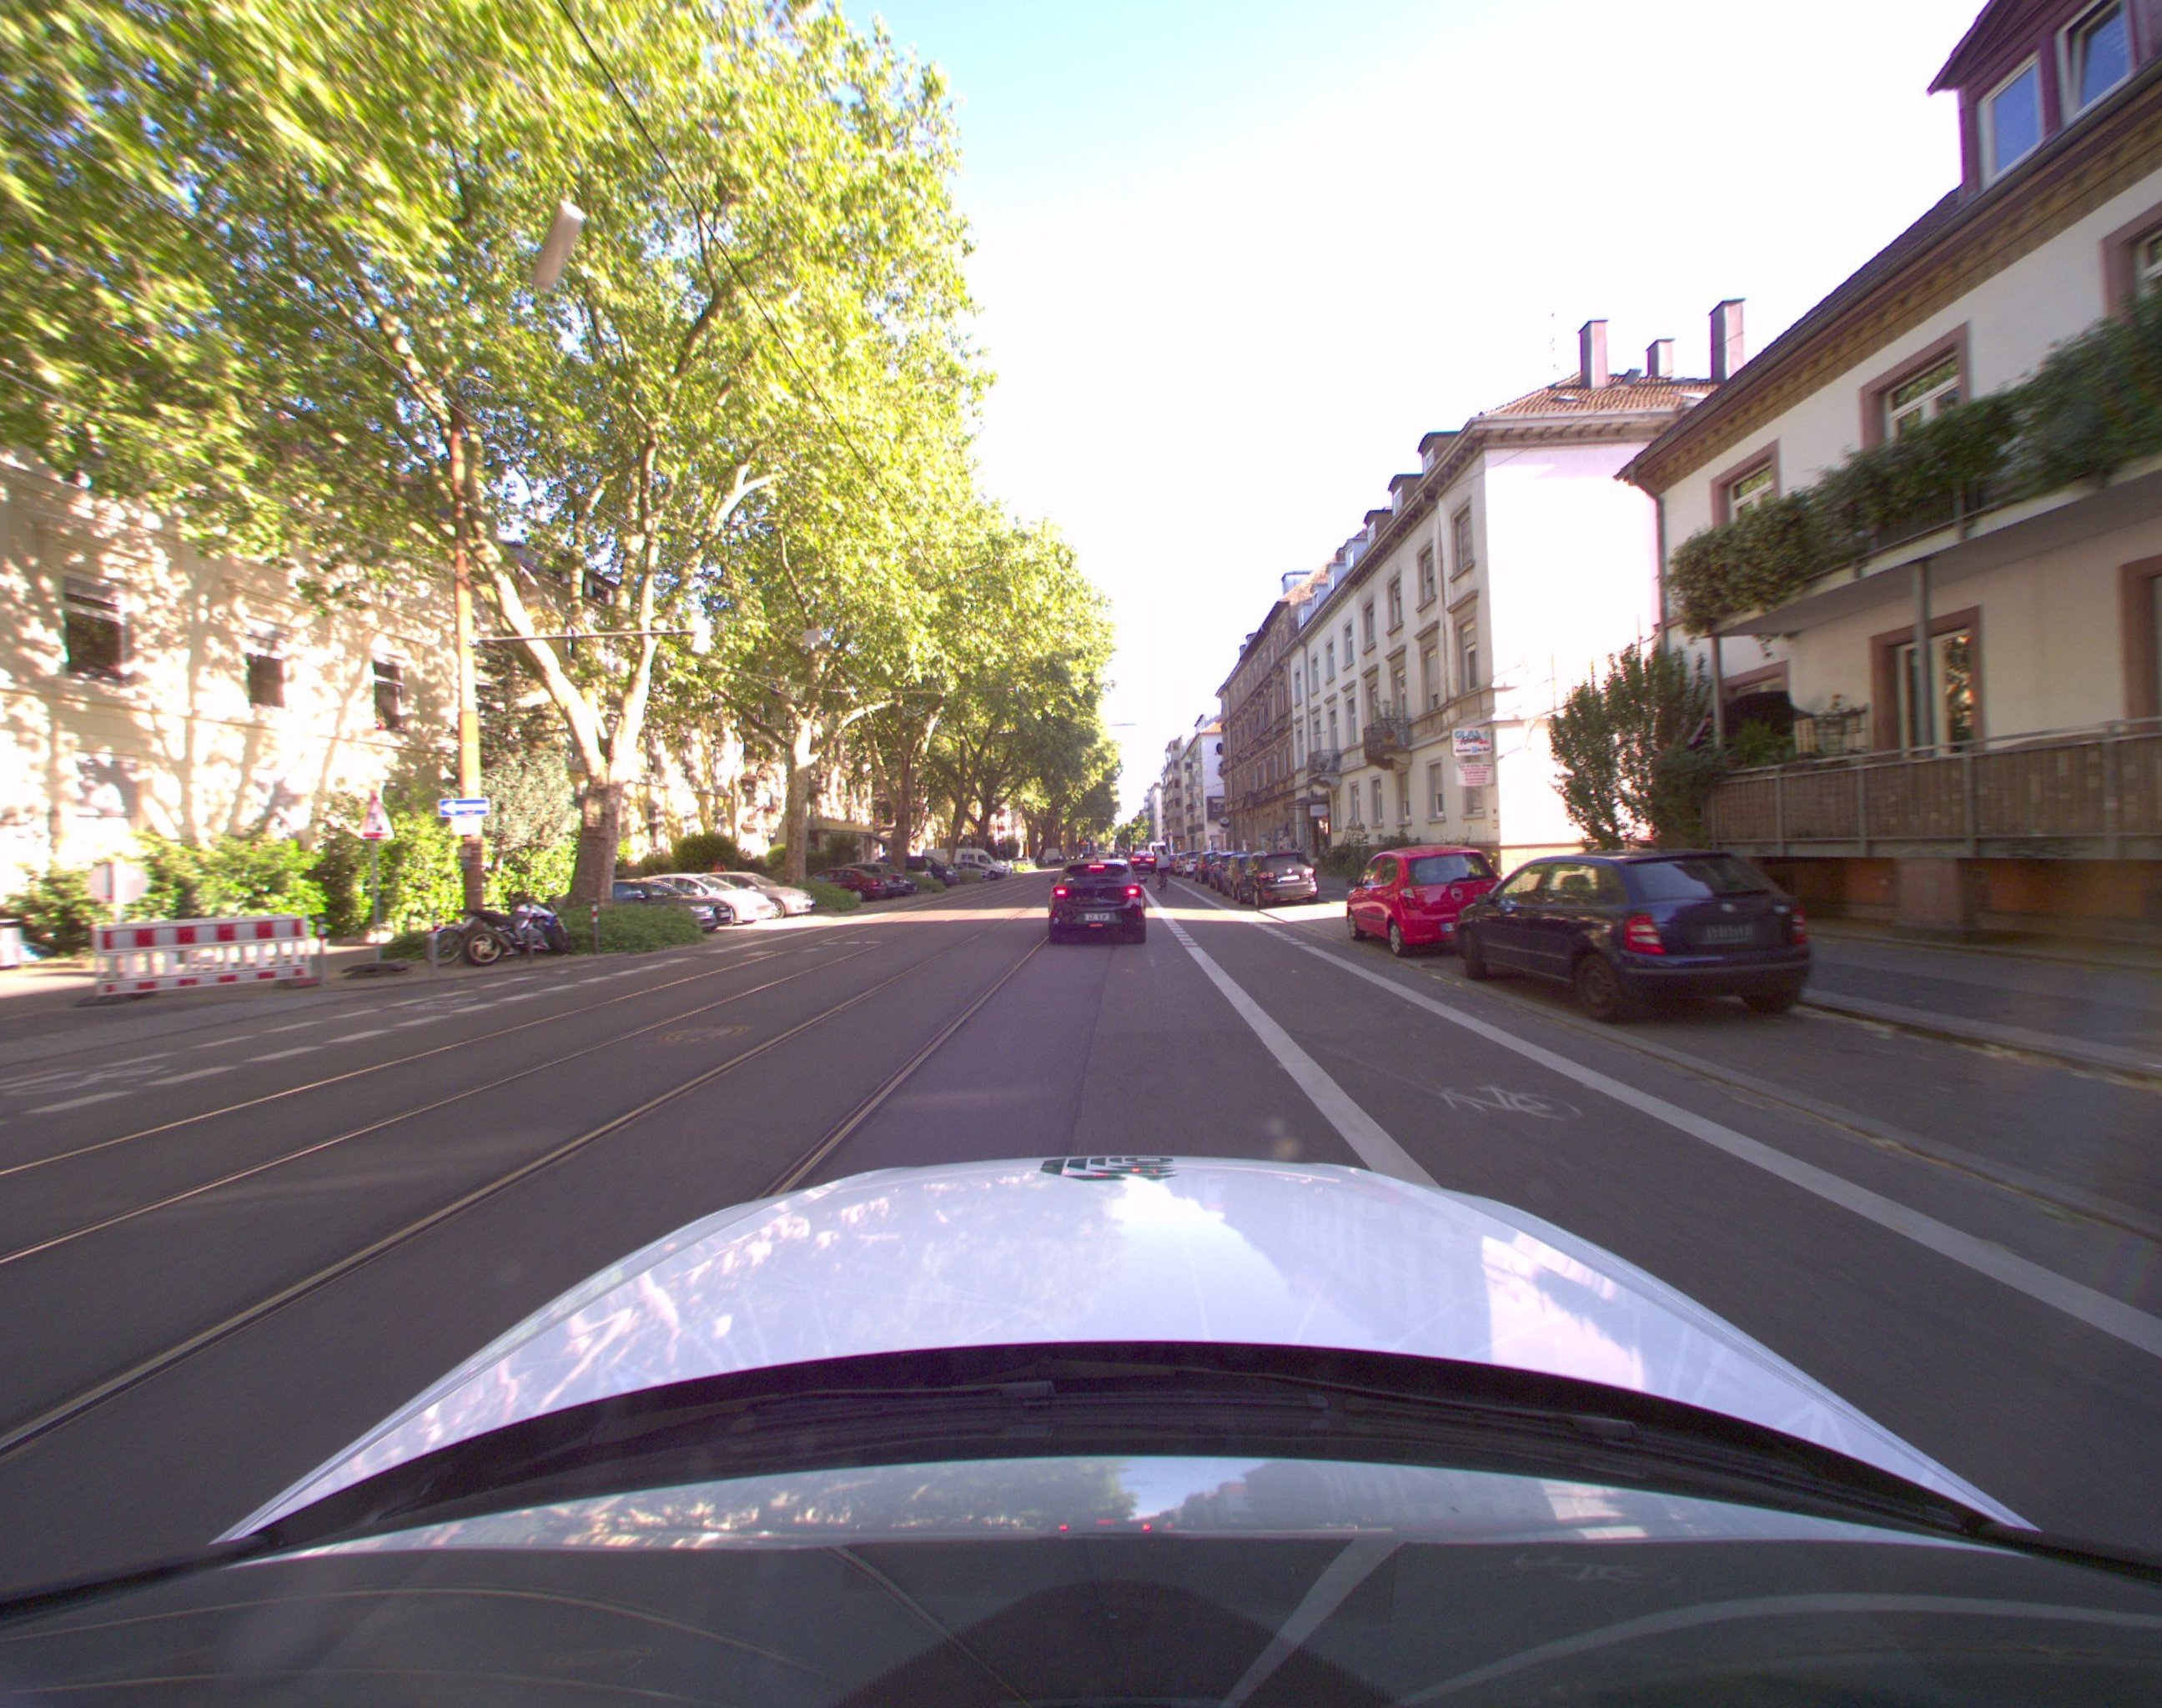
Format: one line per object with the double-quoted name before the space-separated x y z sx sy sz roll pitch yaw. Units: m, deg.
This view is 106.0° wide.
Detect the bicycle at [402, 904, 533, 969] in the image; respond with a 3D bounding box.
"bicycle" -10.936 1.440 14.616 0.537 0.940 2.040 -1 0 10

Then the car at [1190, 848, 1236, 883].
"car" 6.380 0.521 39.690 1.703 1.483 3.767 -5 0 3

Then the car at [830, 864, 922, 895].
"car" -9.773 1.219 39.026 3.906 1.421 1.819 0 0 0

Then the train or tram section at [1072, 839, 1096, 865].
"train or tram section" 0.596 -0.275 123.503 2.723 3.681 12.728 -2 0 3

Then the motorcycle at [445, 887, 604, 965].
"motorcycle" -9.848 1.236 14.569 0.879 1.147 2.397 -1 0 10

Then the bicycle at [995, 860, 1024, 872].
"bicycle" -7.736 1.302 88.086 2.918 1.169 0.995 -1 0 19

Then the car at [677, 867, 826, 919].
"car" -10.367 1.213 25.820 3.904 1.462 1.807 -2 0 2

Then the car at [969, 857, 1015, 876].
"car" -7.898 1.108 72.624 3.908 1.577 1.676 0 0 -1

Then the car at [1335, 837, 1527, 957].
"car" 5.298 0.592 12.833 1.627 1.546 3.579 -3 0 4

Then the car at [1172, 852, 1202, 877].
"car" 6.903 0.646 53.274 1.696 1.456 3.703 -5 0 6

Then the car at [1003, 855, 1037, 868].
"car" -7.066 0.899 94.491 3.908 1.498 1.676 0 0 -1

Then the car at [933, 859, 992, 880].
"car" -8.386 1.096 57.839 3.903 1.498 1.679 0 0 3

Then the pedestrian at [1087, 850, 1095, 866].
"pedestrian" 0.980 0.433 81.349 0.675 1.567 0.770 -1 0 6

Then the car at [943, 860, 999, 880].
"car" -8.209 1.202 61.111 3.905 1.498 1.678 0 0 1

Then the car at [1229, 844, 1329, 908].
"car" 5.756 0.607 24.168 1.875 1.586 3.931 -5 0 -1

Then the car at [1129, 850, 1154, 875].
"car" 4.572 0.641 61.961 1.802 1.742 3.937 -2 0 4

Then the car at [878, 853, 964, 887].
"car" -9.496 0.948 48.454 4.655 1.924 1.982 0 0 3

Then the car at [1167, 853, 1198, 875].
"car" 7.146 0.672 57.575 1.802 1.338 3.937 -5 0 4

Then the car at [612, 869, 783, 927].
"car" -10.730 1.206 22.976 3.906 1.453 1.801 -2 0 2

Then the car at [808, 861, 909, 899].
"car" -9.917 1.143 36.536 3.979 1.627 1.880 0 0 2

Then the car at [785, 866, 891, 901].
"car" -10.192 1.223 34.383 3.904 1.442 1.750 0 0 2

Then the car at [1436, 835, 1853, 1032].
"car" 5.243 0.631 8.305 1.644 1.456 3.871 -3 0 2

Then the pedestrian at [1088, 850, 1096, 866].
"pedestrian" 1.137 0.432 82.160 0.675 1.567 0.770 -1 0 6

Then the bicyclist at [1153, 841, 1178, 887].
"bicyclist" 3.307 0.392 32.015 0.845 1.740 1.162 -1 0 1

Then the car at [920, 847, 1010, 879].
"car" -8.979 0.716 63.554 6.601 2.409 2.459 0 0 2

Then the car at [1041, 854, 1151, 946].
"car" 0.319 0.766 15.226 1.787 1.441 3.533 -1 1 2

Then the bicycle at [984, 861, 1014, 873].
"bicycle" -8.676 1.356 85.978 2.918 1.169 0.995 -1 0 19

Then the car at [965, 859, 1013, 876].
"car" -7.871 1.158 70.155 3.908 1.498 1.676 0 0 -1

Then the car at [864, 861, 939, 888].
"car" -10.012 1.138 45.539 3.720 1.498 1.747 0 0 2

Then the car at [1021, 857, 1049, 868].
"car" -6.577 1.242 115.827 3.908 1.498 1.676 0 -2 -1

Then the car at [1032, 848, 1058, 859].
"car" -5.457 -0.075 124.907 3.908 1.790 1.676 0 -1 -1

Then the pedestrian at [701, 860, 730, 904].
"pedestrian" -15.680 1.177 34.943 0.863 1.849 0.836 -1 0 -5

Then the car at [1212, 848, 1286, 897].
"car" 5.831 0.624 28.713 1.792 1.456 3.769 -5 0 1

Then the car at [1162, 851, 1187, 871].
"car" 7.359 0.554 64.292 1.654 1.419 3.937 -5 0 4

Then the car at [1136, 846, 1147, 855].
"car" 10.430 -0.654 141.449 1.802 1.338 3.937 -5 0 4

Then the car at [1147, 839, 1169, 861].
"car" 8.539 -0.404 90.865 2.067 2.219 4.938 -5 0 4

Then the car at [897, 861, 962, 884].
"car" -9.460 1.147 51.159 3.720 1.430 1.638 0 0 2

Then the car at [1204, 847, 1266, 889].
"car" 6.221 0.528 33.300 1.872 1.456 4.029 -5 0 4

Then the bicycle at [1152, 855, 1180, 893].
"bicycle" 3.319 0.751 31.951 0.857 1.407 2.525 -1 0 1

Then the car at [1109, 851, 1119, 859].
"car" 5.898 0.116 145.082 1.802 1.338 3.937 -2 0 4

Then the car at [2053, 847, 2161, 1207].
"car" 4.909 0.639 1.208 1.686 1.392 4.499 -3 0 4

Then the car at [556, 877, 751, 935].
"car" -10.619 1.271 20.420 3.904 1.332 1.849 0 0 2

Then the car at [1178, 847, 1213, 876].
"car" 6.754 0.452 48.222 1.562 1.517 3.040 -5 0 0
